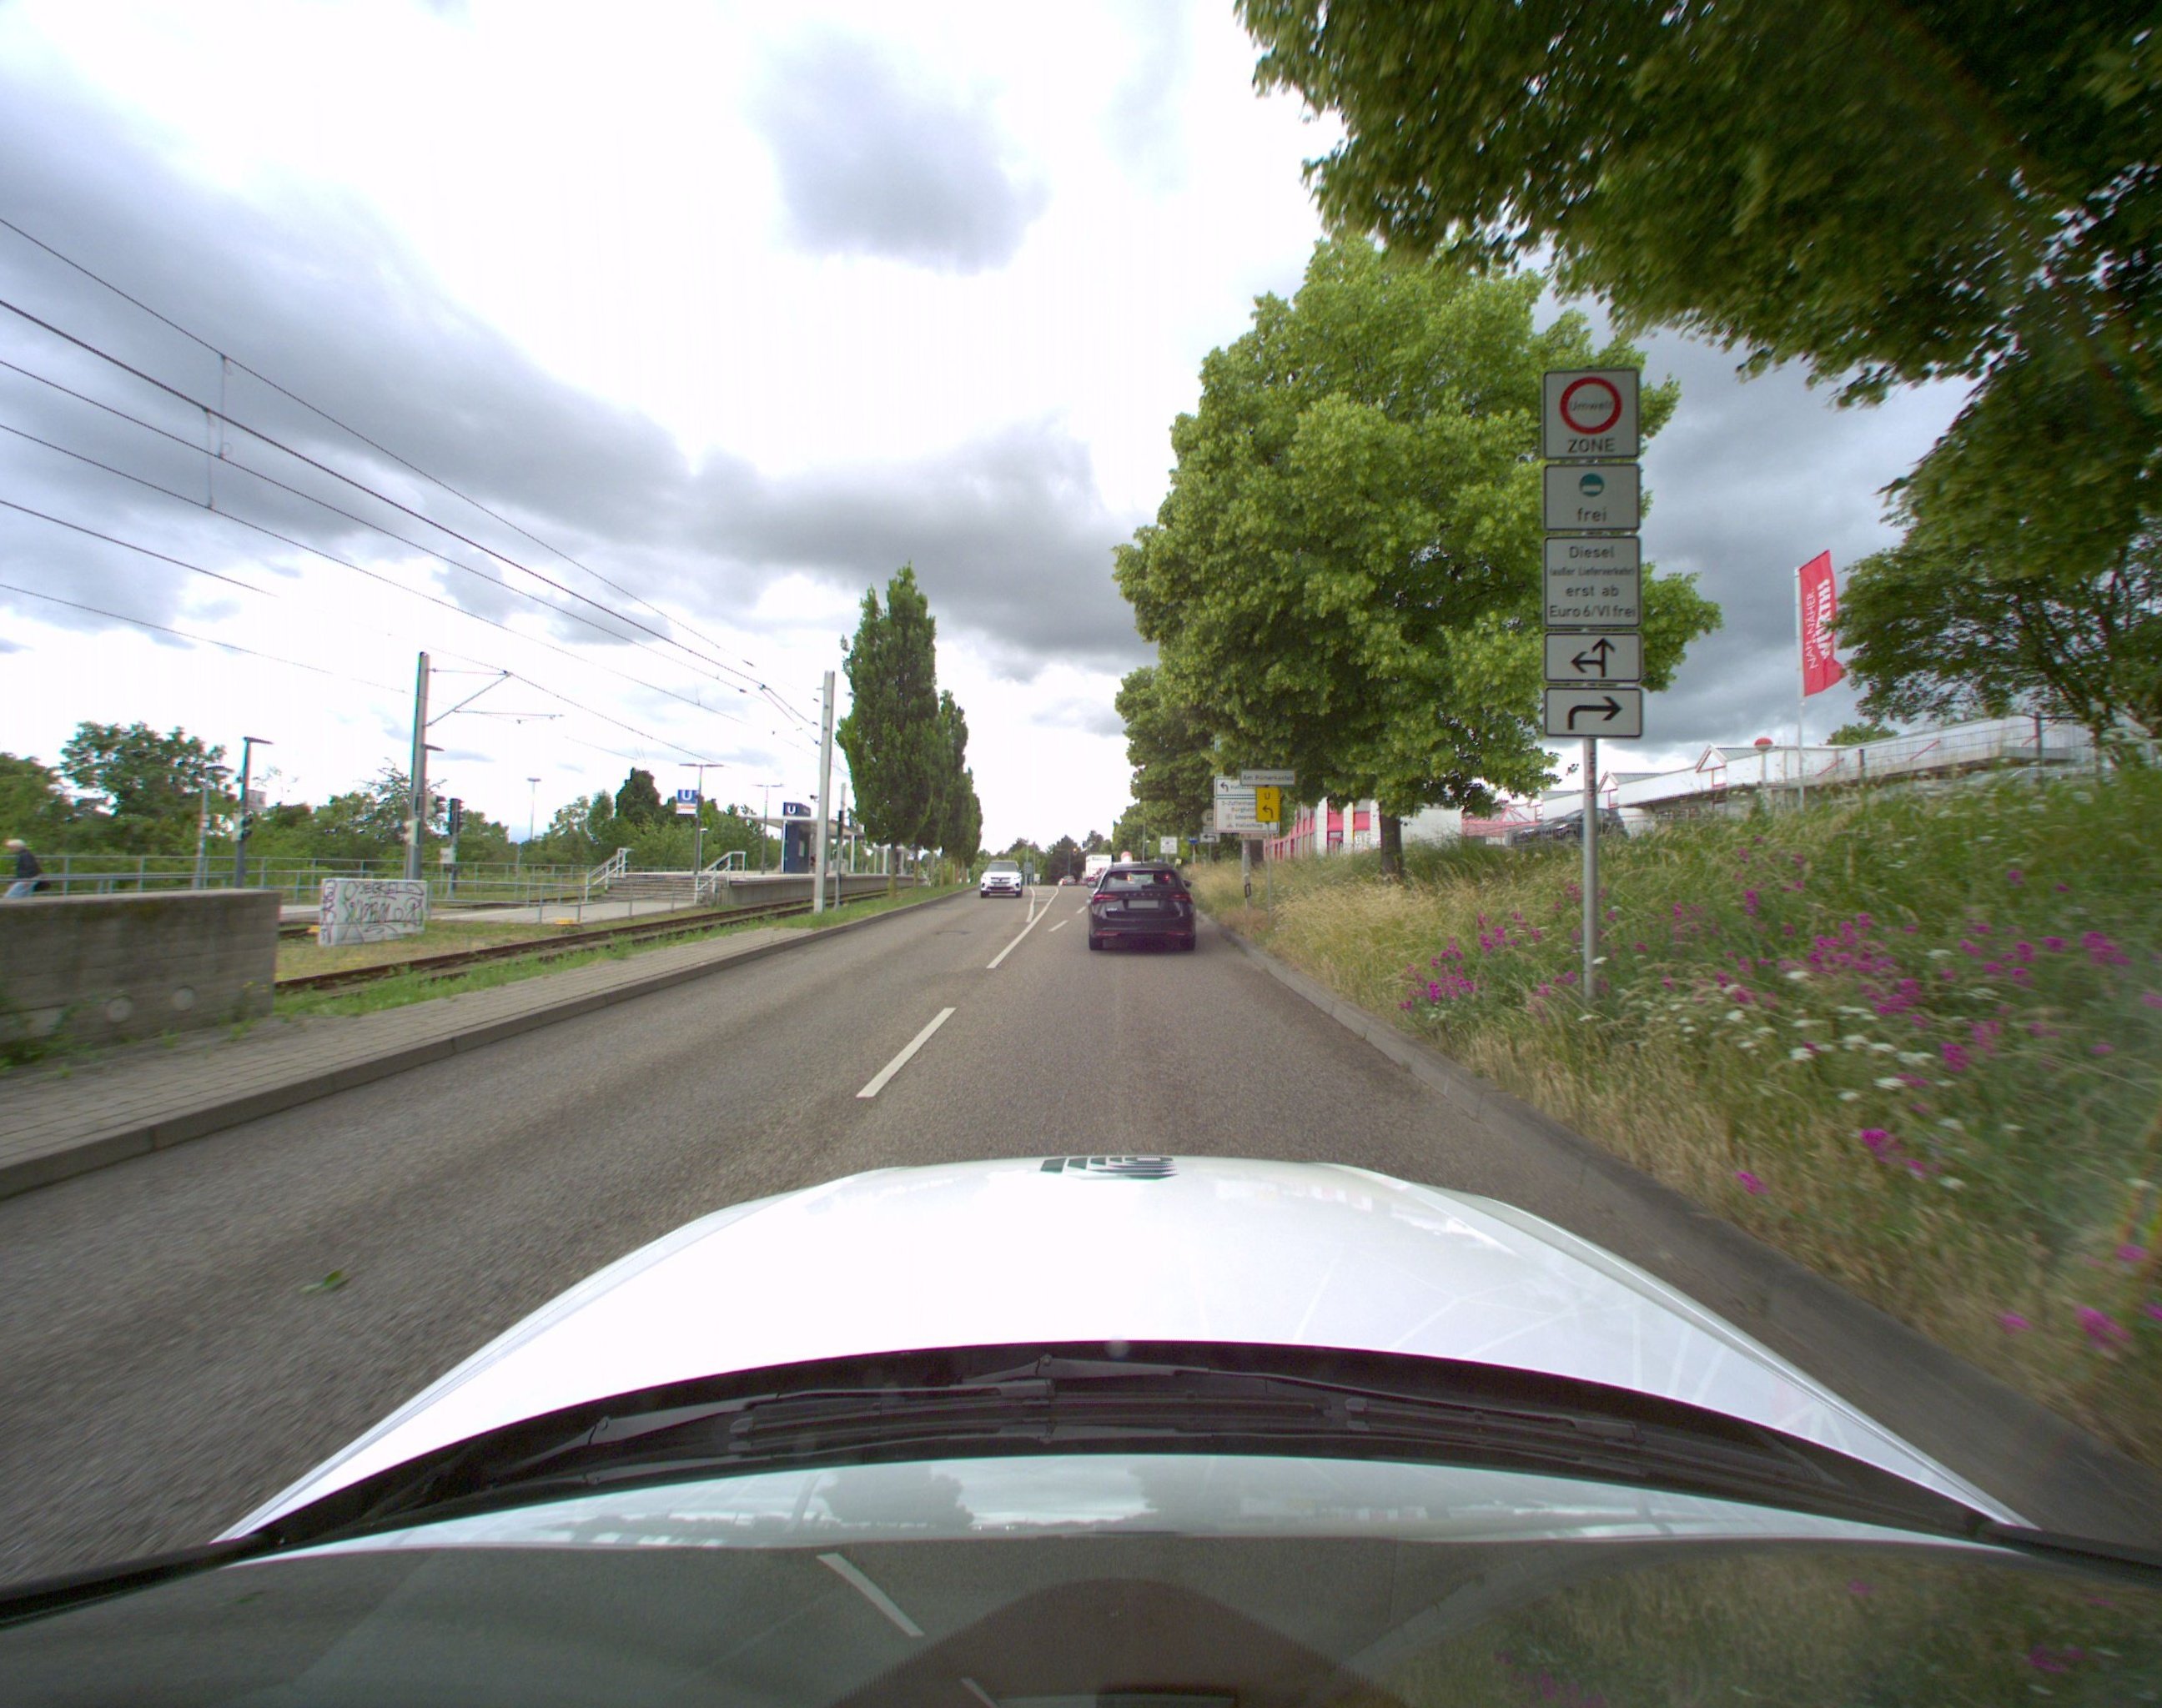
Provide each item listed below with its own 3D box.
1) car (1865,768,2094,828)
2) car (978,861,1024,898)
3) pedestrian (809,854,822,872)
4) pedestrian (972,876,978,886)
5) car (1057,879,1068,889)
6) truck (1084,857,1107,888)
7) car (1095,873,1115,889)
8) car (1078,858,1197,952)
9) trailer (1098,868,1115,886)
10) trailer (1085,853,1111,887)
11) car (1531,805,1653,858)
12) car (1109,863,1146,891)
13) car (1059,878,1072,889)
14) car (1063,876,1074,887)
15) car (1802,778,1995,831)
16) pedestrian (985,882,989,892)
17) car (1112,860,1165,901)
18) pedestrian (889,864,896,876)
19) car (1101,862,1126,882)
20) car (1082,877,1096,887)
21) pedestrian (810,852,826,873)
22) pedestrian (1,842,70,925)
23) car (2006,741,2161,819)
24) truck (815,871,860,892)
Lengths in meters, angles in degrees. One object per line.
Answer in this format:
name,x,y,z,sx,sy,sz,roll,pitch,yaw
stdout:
car,23.373,-1.440,21.308,3.908,1.368,1.757,1,-1,4
car,-3.428,1.062,35.553,1.711,1.521,3.742,0,0,-2
pedestrian,-15.872,0.543,48.681,0.606,1.079,0.469,0,-1,-5
pedestrian,-17.027,4.286,130.556,0.862,1.560,0.517,0,-1,-6
car,-2.853,4.613,126.240,1.532,1.505,2.665,0,-4,-4
truck,1.801,2.352,103.122,2.565,3.707,4.099,0,-4,-3
car,2.206,2.496,75.880,1.666,1.448,4.487,0,-2,0
car,1.082,0.794,14.724,1.827,1.432,4.285,1,0,6
trailer,2.209,2.043,71.986,1.404,1.594,3.302,0,-2,0
trailer,1.993,2.079,99.325,2.560,3.707,7.752,0,-4,-3
car,19.949,-0.865,31.901,3.738,1.959,1.645,1,-1,4
car,2.476,1.211,43.774,1.714,1.457,3.694,0,-1,-1
car,-2.360,4.388,121.123,1.718,1.422,4.349,0,-3,-4
car,-1.723,3.755,111.862,1.521,1.354,3.488,0,0,-1
car,23.584,-1.413,23.610,3.738,1.364,1.757,1,0,4
pedestrian,-15.133,5.259,131.041,0.585,1.621,0.422,0,-1,-6
car,2.101,0.959,30.711,1.619,1.457,3.686,0,0,-2
pedestrian,-19.371,1.635,83.731,0.610,1.269,0.658,0,-1,-9
car,2.587,1.420,65.381,1.694,1.486,3.997,1,0,-2
car,1.153,3.879,114.156,1.807,1.354,4.114,1,-1,-2
pedestrian,-15.402,0.492,47.768,0.760,1.199,0.664,0,-2,-5
pedestrian,-20.774,0.572,16.188,0.505,1.625,0.646,0,-1,1
car,23.301,-1.578,17.842,3.908,1.482,1.757,1,0,4
truck,-44.339,4.982,148.322,7.217,3.599,2.691,0,-1,-1
